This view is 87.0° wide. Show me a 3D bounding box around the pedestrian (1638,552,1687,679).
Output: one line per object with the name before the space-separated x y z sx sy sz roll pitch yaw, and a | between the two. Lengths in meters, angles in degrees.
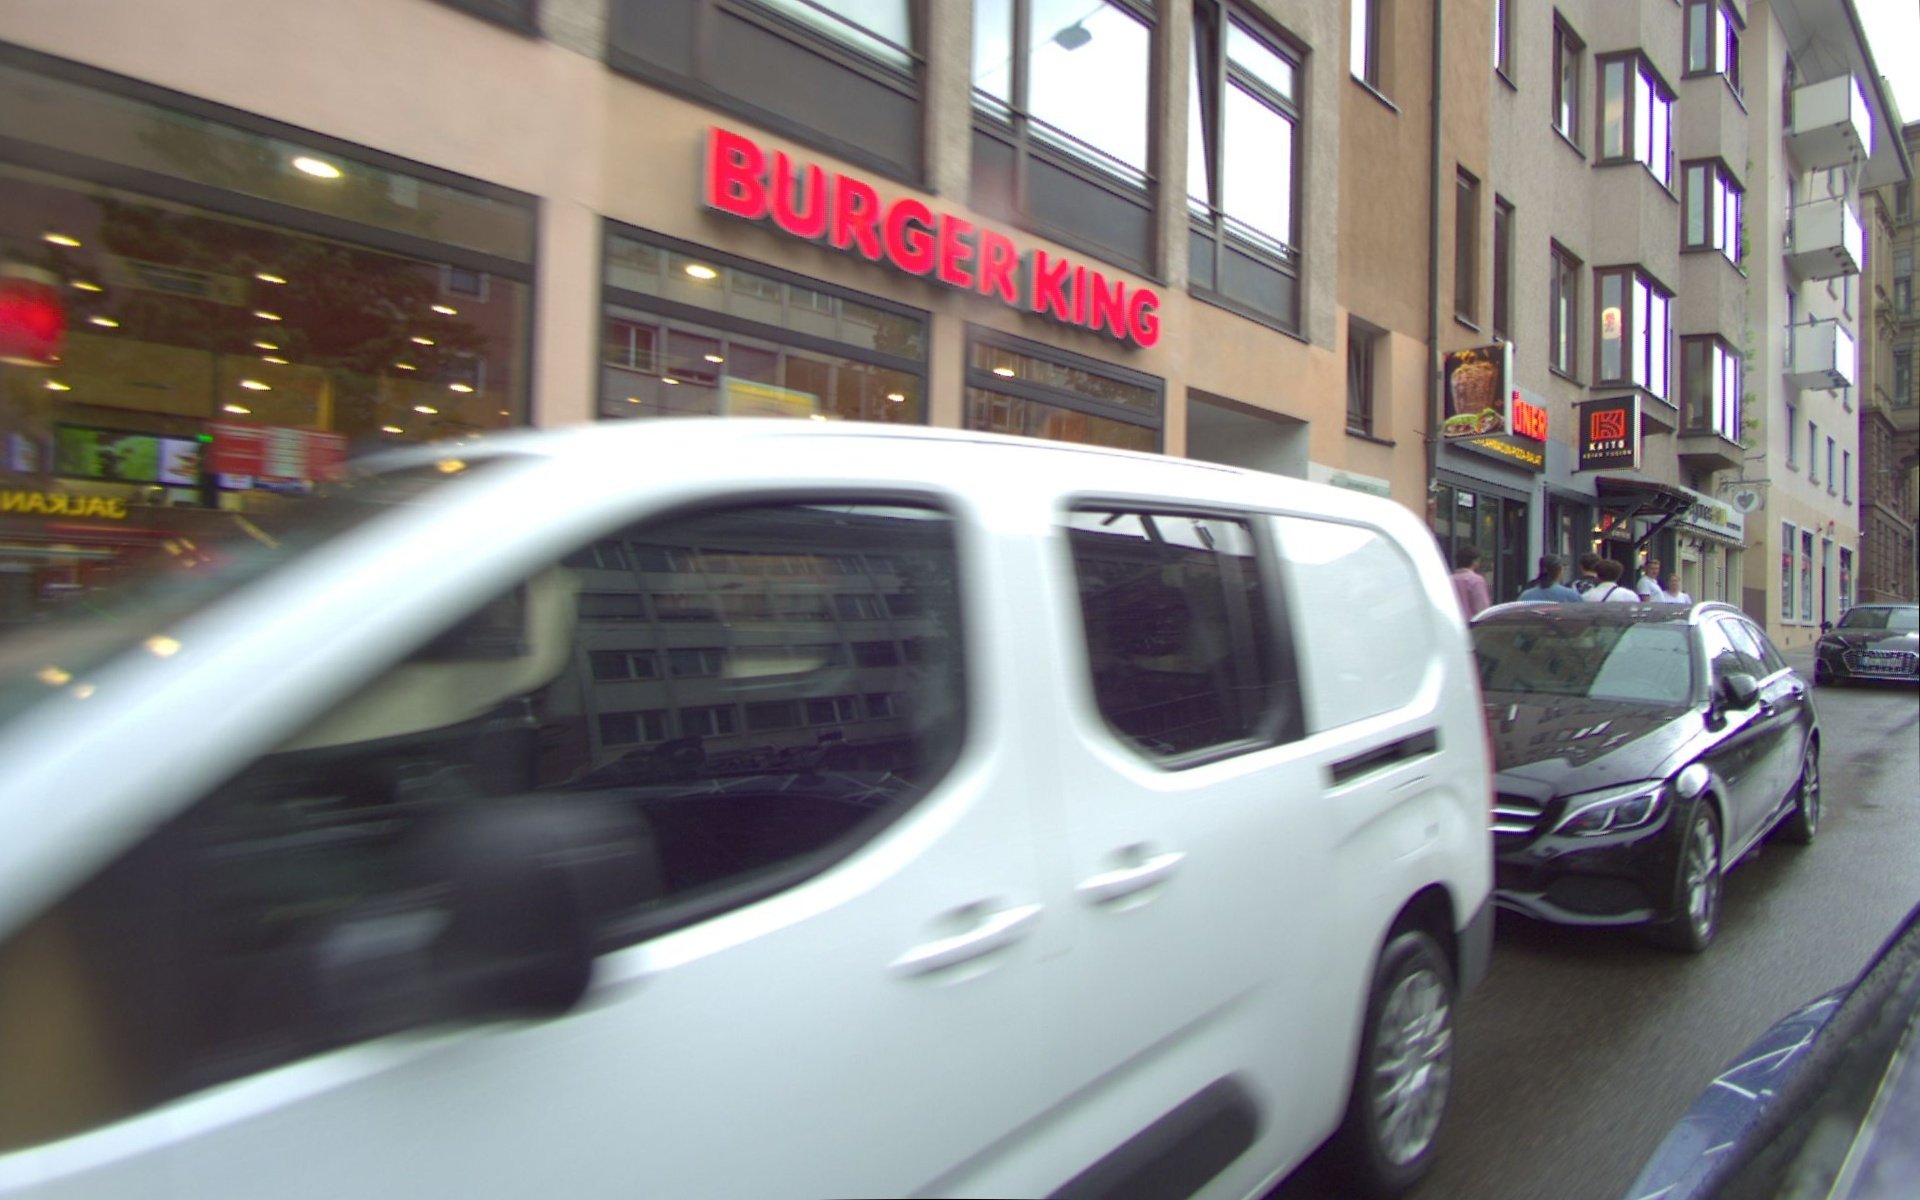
pedestrian | 10.647 0.221 15.343 0.528 1.881 0.548 1 1 41

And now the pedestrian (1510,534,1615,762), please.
pedestrian | 5.438 0.406 9.145 0.524 1.972 0.653 0 1 -40

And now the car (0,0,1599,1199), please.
car | -0.376 0.485 2.216 4.697 1.829 1.908 -1 1 -43

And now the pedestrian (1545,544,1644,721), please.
pedestrian | 6.899 0.323 11.014 0.578 1.842 0.757 0 1 -40

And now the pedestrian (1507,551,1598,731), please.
pedestrian | 5.946 0.384 10.161 0.571 1.735 0.612 0 1 -40

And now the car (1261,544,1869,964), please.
car | 3.854 0.562 6.096 4.337 1.636 1.910 -1 1 -41

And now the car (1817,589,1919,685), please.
car | 16.509 0.571 17.616 4.173 1.480 1.909 -1 1 -42

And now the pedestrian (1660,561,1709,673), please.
pedestrian | 11.294 0.252 15.780 0.544 1.701 0.587 1 1 41

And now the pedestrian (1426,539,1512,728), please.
pedestrian | 4.862 0.296 9.667 0.469 1.735 0.577 0 1 -40

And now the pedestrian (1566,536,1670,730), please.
pedestrian | 6.647 0.306 10.230 0.641 1.878 0.697 0 1 -40

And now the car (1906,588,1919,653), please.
car | 23.467 0.461 23.667 3.354 1.480 1.648 -1 1 -41
